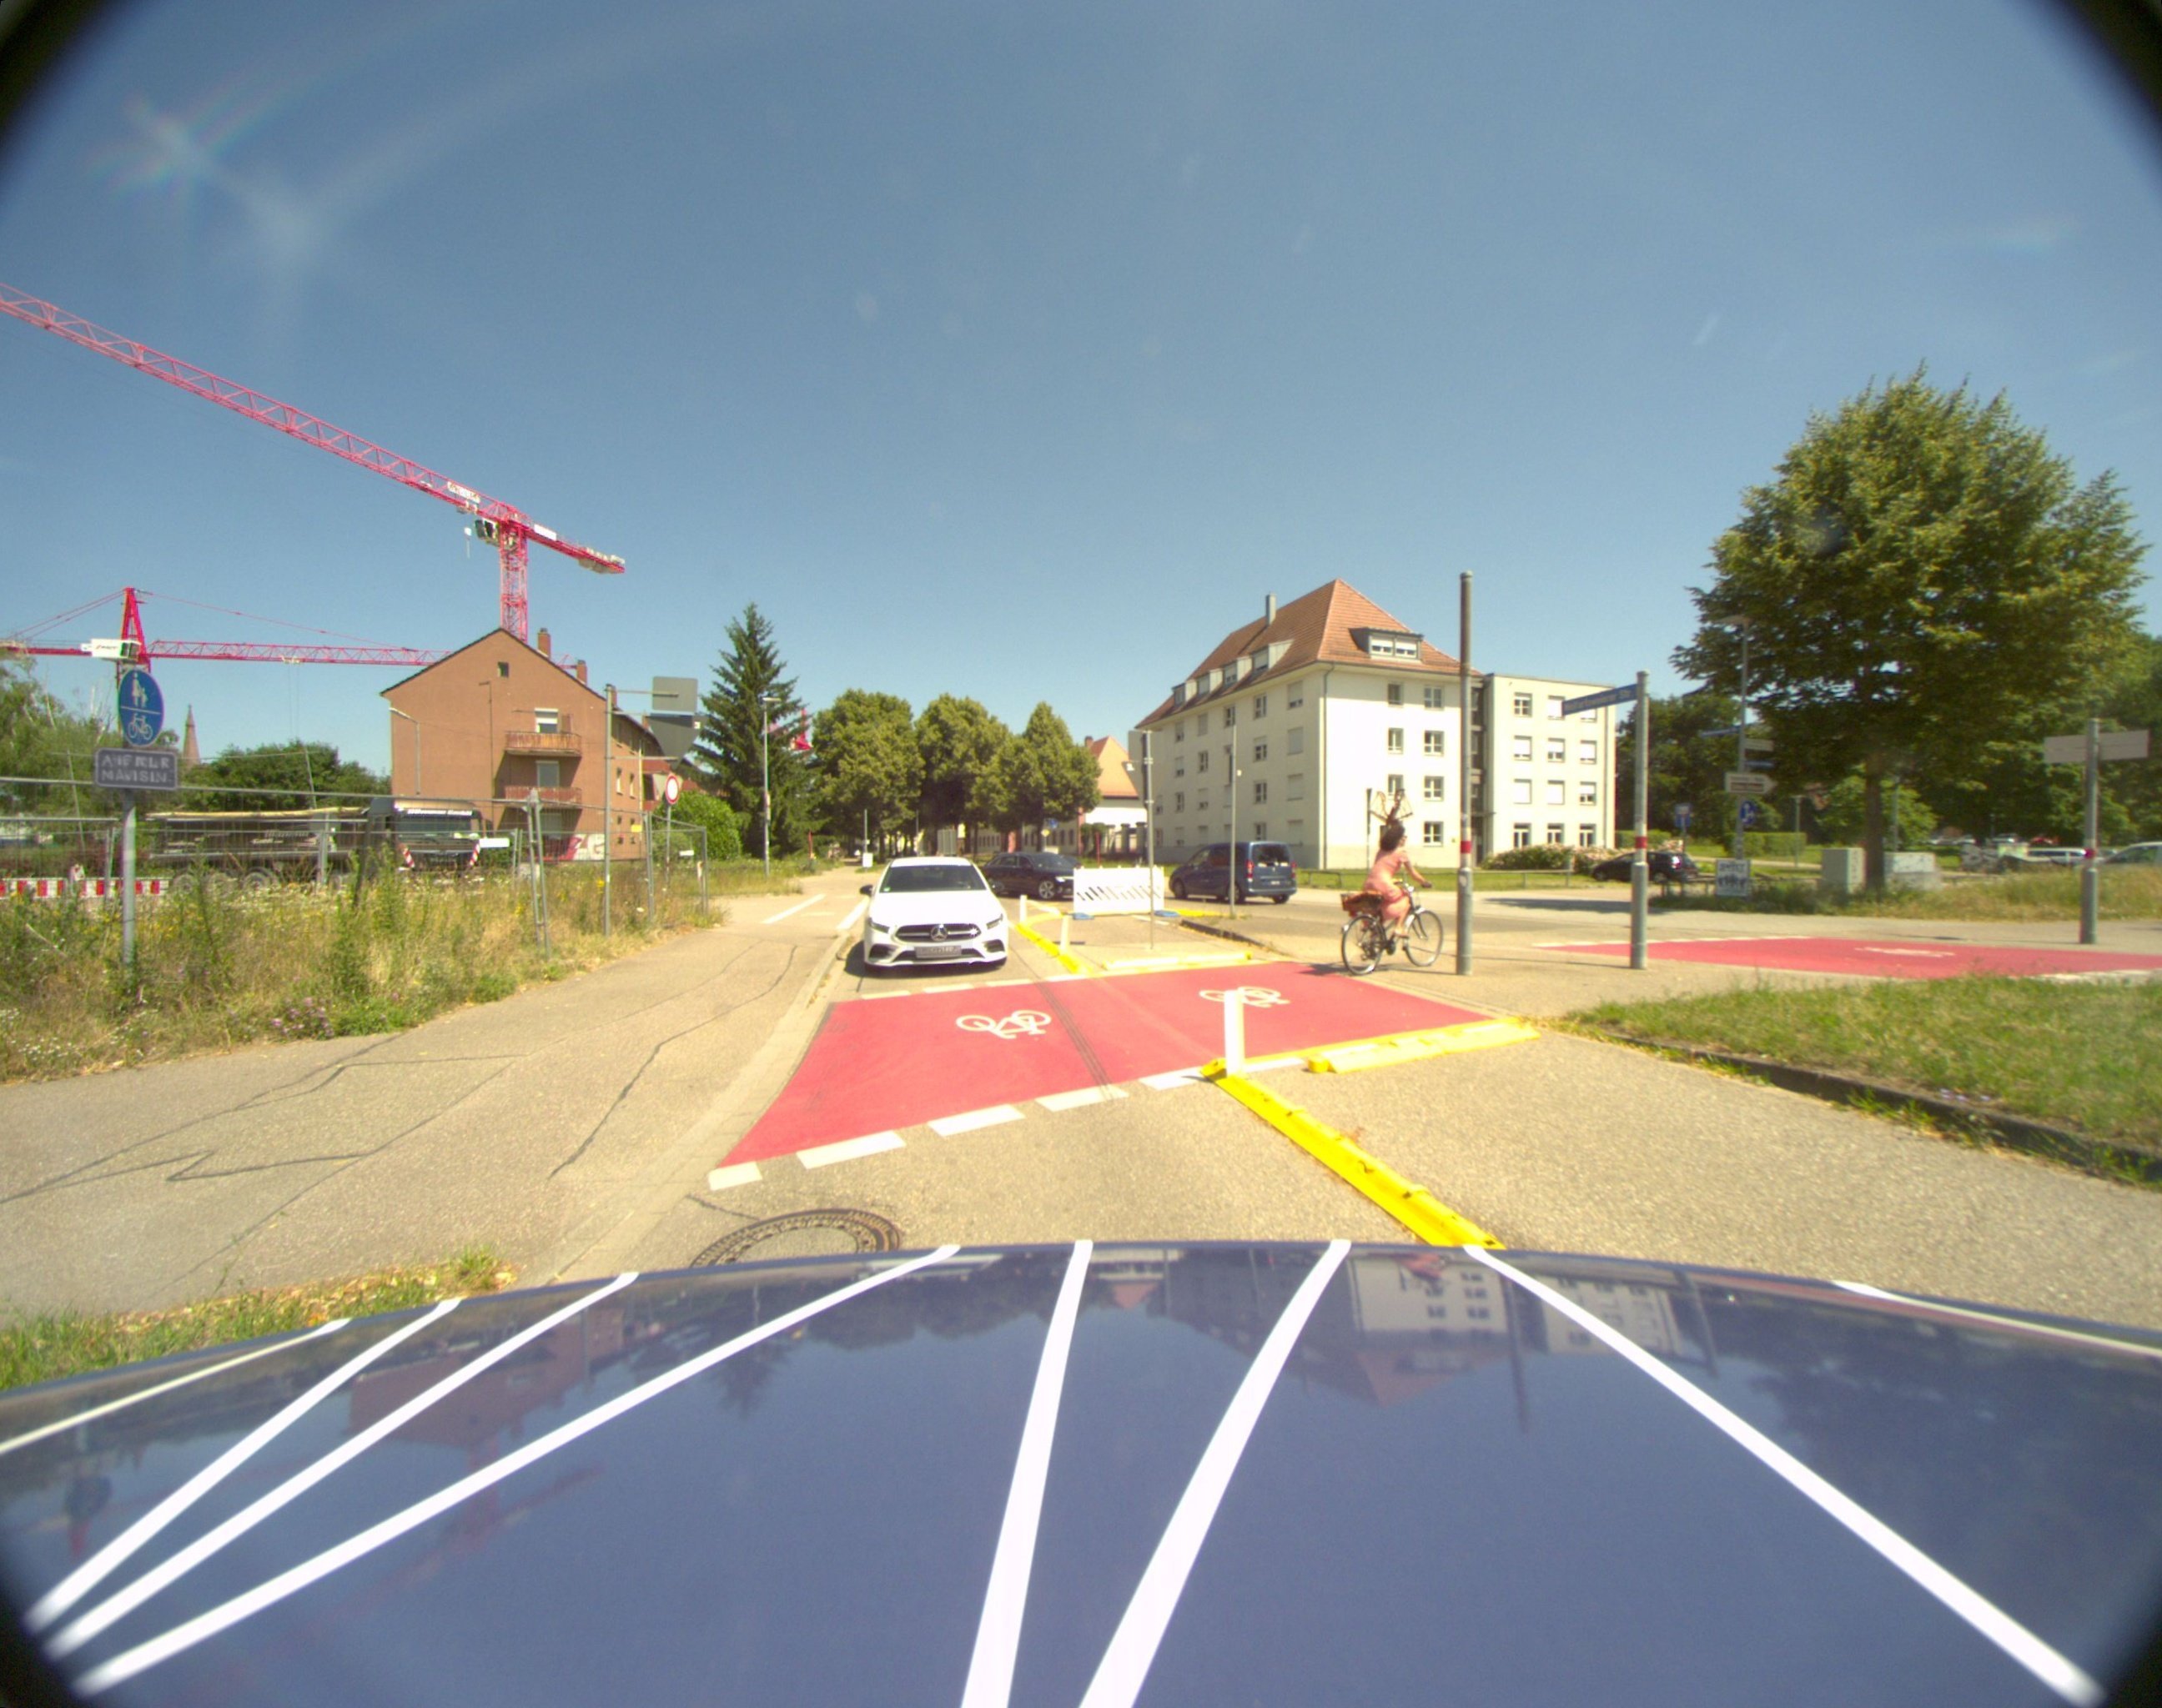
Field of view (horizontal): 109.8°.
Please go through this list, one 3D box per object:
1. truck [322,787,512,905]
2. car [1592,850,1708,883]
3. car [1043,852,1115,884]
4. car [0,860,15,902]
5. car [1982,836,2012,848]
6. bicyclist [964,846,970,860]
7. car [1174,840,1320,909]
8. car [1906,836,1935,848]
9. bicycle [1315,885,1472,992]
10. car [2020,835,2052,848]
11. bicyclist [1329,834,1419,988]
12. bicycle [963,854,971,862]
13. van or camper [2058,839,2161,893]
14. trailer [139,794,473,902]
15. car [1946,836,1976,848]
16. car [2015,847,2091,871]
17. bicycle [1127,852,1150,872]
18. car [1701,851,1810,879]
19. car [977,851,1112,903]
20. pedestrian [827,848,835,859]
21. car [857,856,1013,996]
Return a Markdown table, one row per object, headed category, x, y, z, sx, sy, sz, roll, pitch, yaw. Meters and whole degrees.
| category | x | y | z | sx | sy | sz | roll | pitch | yaw |
| --- | --- | --- | --- | --- | --- | --- | --- | --- | --- |
| truck | -21.954 | -0.247 | 25.156 | 4.951 | 3.512 | 3.170 | 0 | 1 | 29 |
| car | 24.798 | 0.504 | 33.267 | 1.661 | 1.319 | 3.801 | 0 | 1 | -19 |
| car | -0.163 | 0.601 | 36.311 | 1.725 | 1.404 | 4.609 | -1 | 1 | -24 |
| car | -43.743 | 1.061 | 29.242 | 3.416 | 1.604 | 1.370 | 0 | 1 | 0 |
| car | 105.750 | -1.379 | 87.720 | 3.031 | 1.408 | 1.476 | -1 | 1 | -24 |
| bicyclist | -13.103 | -0.145 | 87.524 | 0.569 | 1.601 | 0.739 | -1 | 1 | -19 |
| car | 4.595 | 0.536 | 21.667 | 1.692 | 1.759 | 4.195 | 1 | 0 | -29 |
| car | 102.758 | -1.428 | 93.004 | 3.031 | 1.408 | 1.476 | -1 | 1 | -24 |
| bicycle | 3.645 | 0.932 | 8.801 | 2.091 | 1.052 | 0.438 | -1 | 3 | -28 |
| car | 106.782 | -1.354 | 84.974 | 3.031 | 1.408 | 1.476 | -1 | 1 | -24 |
| bicyclist | 3.320 | 0.610 | 8.625 | 0.711 | 1.655 | 0.644 | -2 | 3 | -29 |
| bicycle | -13.092 | 0.473 | 87.522 | 0.563 | 0.910 | 1.905 | -1 | 1 | -19 |
| van or camper | 37.875 | 0.395 | 25.876 | 2.002 | 1.847 | 5.263 | -1 | 1 | -20 |
| trailer | -27.022 | -0.195 | 26.744 | 8.981 | 3.512 | 3.166 | 0 | 1 | 5 |
| car | 104.861 | -1.422 | 90.507 | 3.031 | 1.408 | 1.476 | -1 | 1 | -24 |
| car | 56.856 | 0.248 | 44.481 | 1.084 | 1.350 | 2.526 | -1 | 1 | -12 |
| bicycle | 3.284 | 0.458 | 43.475 | 0.710 | 1.018 | 1.982 | -3 | 2 | -13 |
| car | 30.732 | 0.465 | 34.755 | 1.358 | 1.210 | 3.508 | 0 | 1 | -18 |
| car | -1.240 | 0.653 | 23.801 | 1.805 | 1.443 | 4.605 | -1 | 0 | -40 |
| pedestrian | -35.083 | -0.099 | 106.552 | 1.025 | 1.509 | 0.681 | -1 | 1 | -13 |
| car | -2.148 | 0.833 | 10.808 | 1.782 | 1.536 | 3.958 | -1 | 1 | -14 |
